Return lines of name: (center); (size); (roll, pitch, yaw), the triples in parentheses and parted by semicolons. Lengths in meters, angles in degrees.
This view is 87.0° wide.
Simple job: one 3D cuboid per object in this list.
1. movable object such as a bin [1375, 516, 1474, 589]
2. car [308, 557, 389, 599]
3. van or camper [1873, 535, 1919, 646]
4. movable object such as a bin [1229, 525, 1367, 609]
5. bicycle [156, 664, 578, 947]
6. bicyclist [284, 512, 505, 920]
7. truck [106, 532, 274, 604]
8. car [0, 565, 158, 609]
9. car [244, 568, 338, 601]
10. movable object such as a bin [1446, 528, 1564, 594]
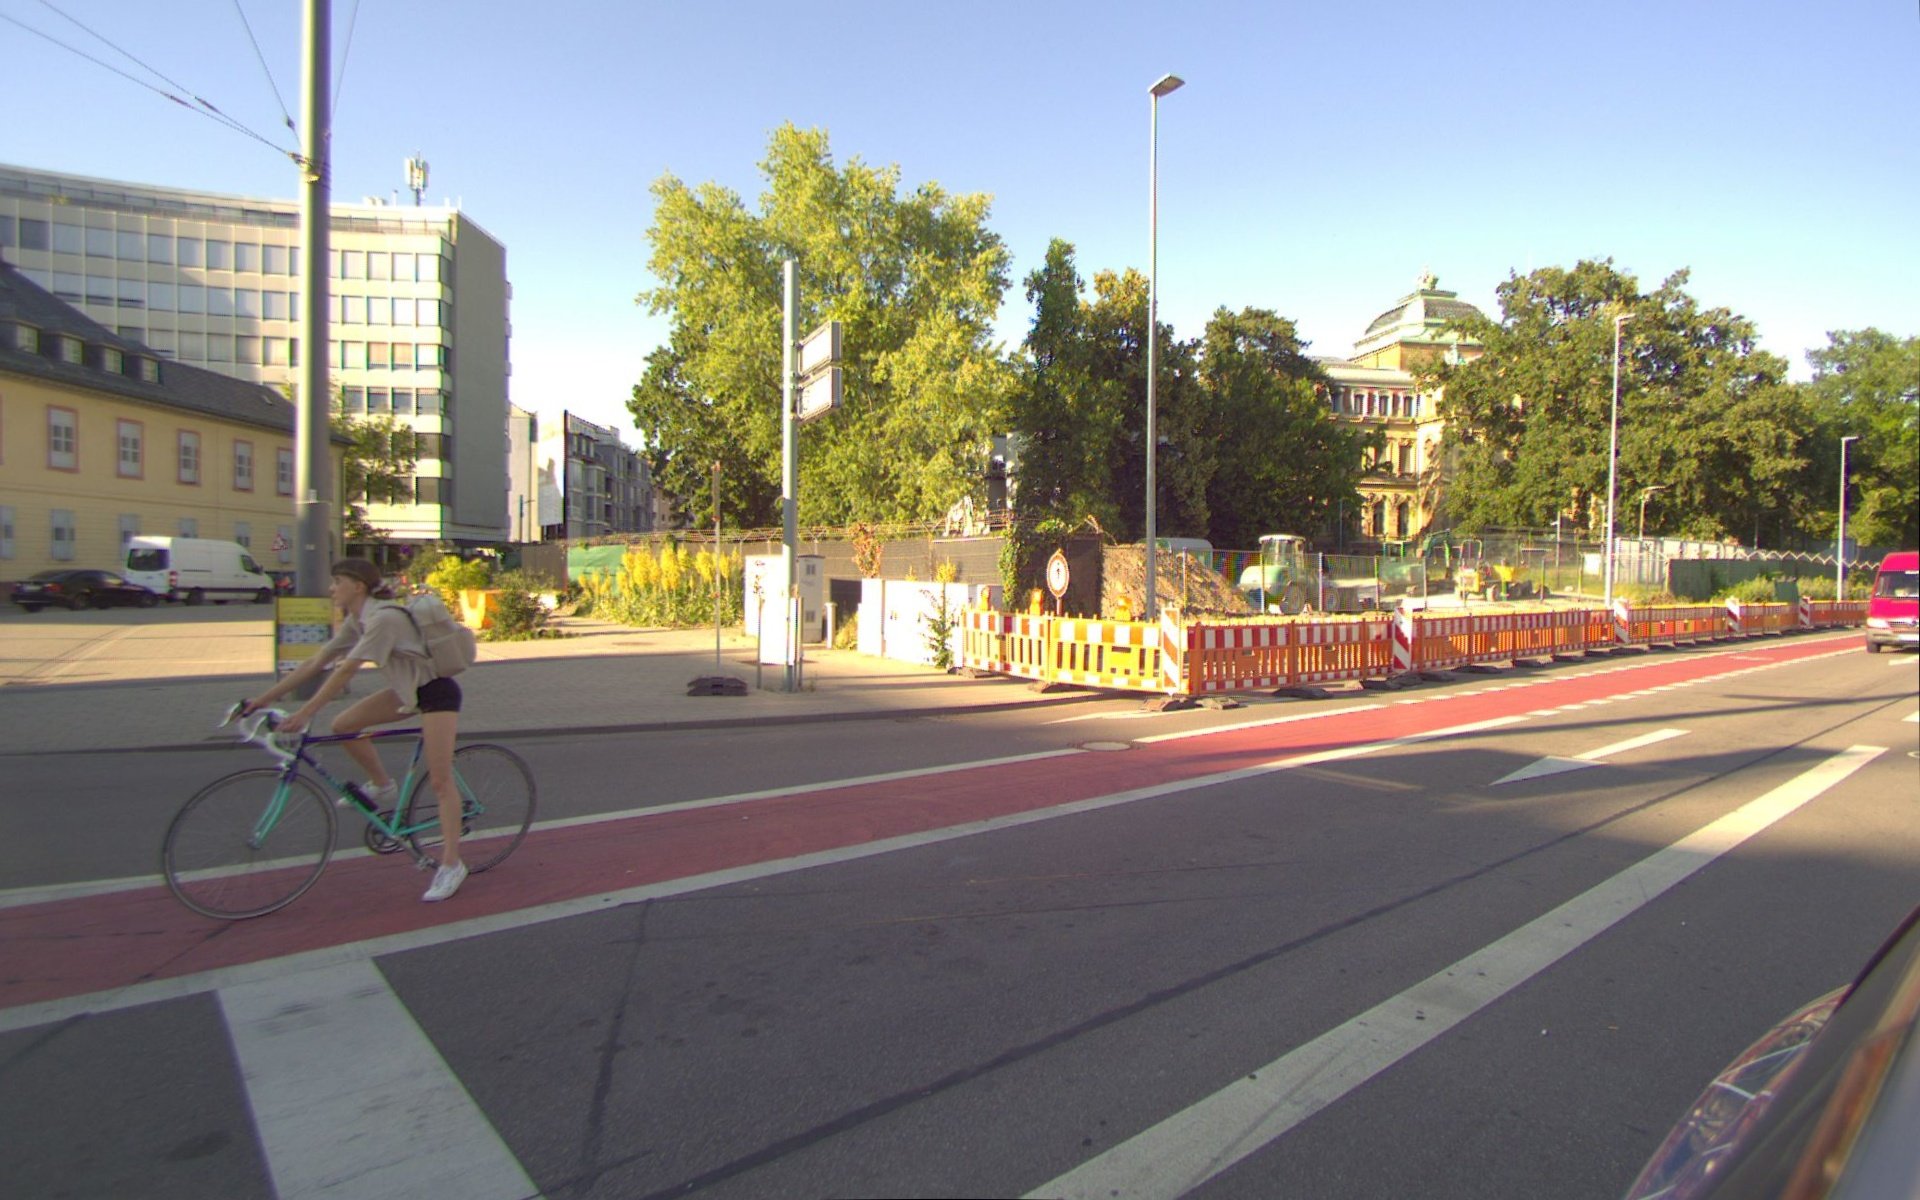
movable object such as a bin: (22.468, -2.245, 48.893); (5.274, 3.371, 1.999); (-1, 0, -36)
car: (-30.079, -1.073, 49.910); (1.682, 2.005, 3.761); (-1, 1, 1)
van or camper: (24.603, -0.271, 25.233); (5.811, 2.561, 1.997); (-1, 1, -41)
movable object such as a bin: (11.697, -1.110, 34.862); (4.920, 2.717, 2.000); (-1, 1, -36)
bicycle: (-2.772, 0.879, 4.871); (0.541, 1.013, 1.666); (0, 1, 45)
bicyclist: (-2.720, 0.496, 4.879); (0.779, 1.768, 0.614); (-1, 0, -45)
truck: (-30.040, -1.200, 39.796); (2.258, 2.580, 5.638); (-1, 1, 1)
car: (-29.575, -0.449, 34.102); (1.682, 1.382, 4.194); (-1, 1, 1)
car: (-30.039, -0.702, 45.557); (1.682, 1.382, 3.761); (-1, 1, 1)
movable object such as a bin: (24.727, -1.744, 45.866); (5.750, 2.851, 2.002); (-1, 0, -30)
